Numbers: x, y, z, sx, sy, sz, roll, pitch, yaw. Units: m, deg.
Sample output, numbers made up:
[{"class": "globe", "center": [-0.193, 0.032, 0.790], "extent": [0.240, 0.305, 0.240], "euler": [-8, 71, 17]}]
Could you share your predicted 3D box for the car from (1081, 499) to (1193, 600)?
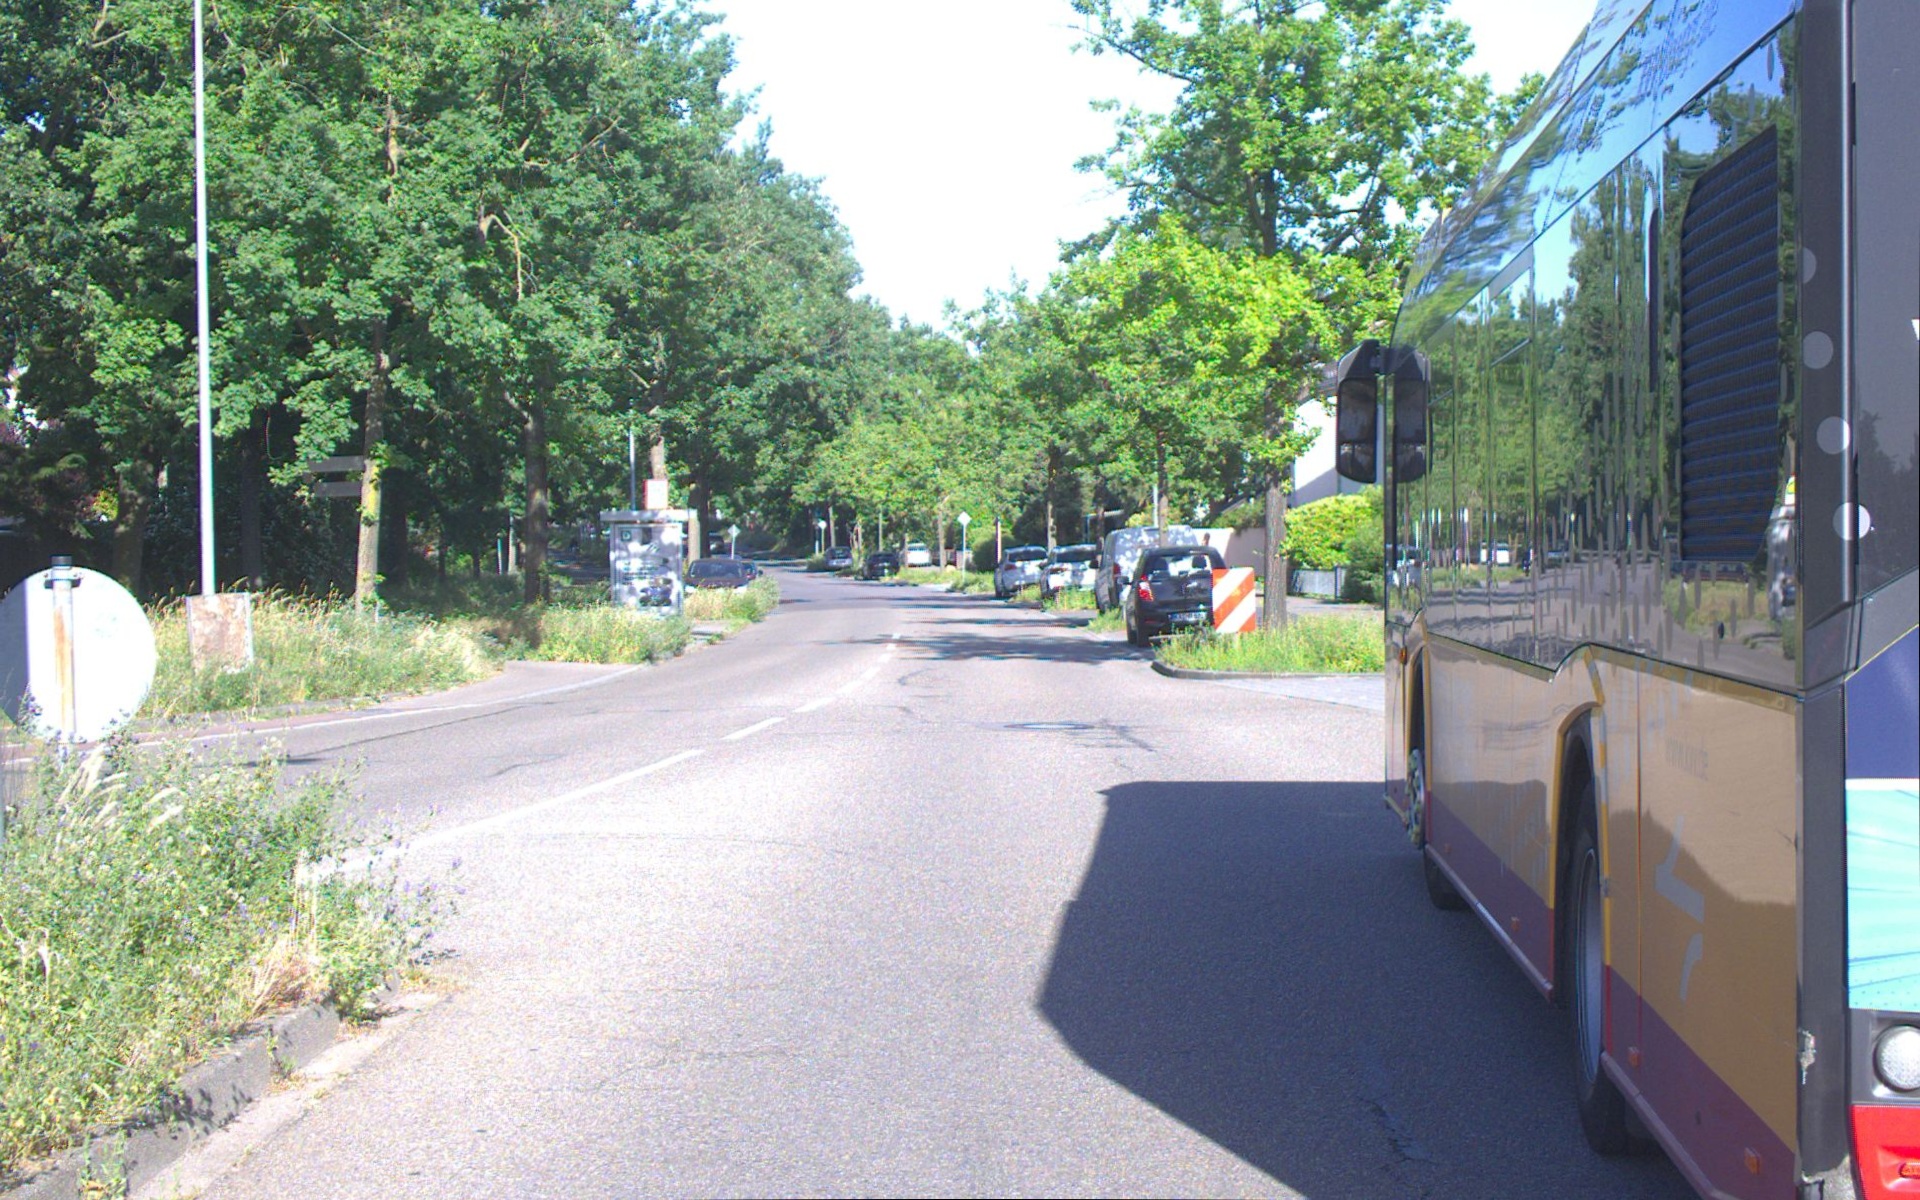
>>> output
[{"class": "car", "center": [3.561, -1.026, 69.887], "extent": [1.835, 1.964, 4.759], "euler": [-1, 1, -2]}]

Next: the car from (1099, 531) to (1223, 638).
[{"class": "car", "center": [3.145, -0.270, 54.336], "extent": [1.672, 1.573, 3.752], "euler": [-2, 1, 0]}]

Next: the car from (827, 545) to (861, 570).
[{"class": "car", "center": [-6.988, -2.559, 206.510], "extent": [1.933, 1.449, 4.001], "euler": [-1, 1, -3]}]

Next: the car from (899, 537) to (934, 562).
[{"class": "car", "center": [-2.641, -3.060, 207.676], "extent": [1.933, 1.449, 4.001], "euler": [-1, 1, -3]}]

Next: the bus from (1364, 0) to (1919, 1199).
[{"class": "bus", "center": [2.952, -0.367, 11.208], "extent": [2.758, 3.446, 12.396], "euler": [-2, 0, 5]}]

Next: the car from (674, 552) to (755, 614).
[{"class": "car", "center": [-6.071, -0.445, 85.141], "extent": [1.935, 1.474, 4.001], "euler": [-1, 1, -4]}]

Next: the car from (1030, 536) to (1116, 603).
[{"class": "car", "center": [2.925, -0.817, 89.888], "extent": [1.935, 1.698, 4.000], "euler": [-1, 1, -2]}]

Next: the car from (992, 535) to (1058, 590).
[{"class": "car", "center": [2.109, -1.227, 112.584], "extent": [1.933, 1.736, 4.000], "euler": [-1, 1, -2]}]

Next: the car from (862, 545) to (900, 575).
[{"class": "car", "center": [-4.188, -2.140, 181.607], "extent": [1.933, 1.537, 4.000], "euler": [-1, 1, -2]}]

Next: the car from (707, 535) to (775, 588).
[{"class": "car", "center": [-6.615, -1.153, 103.402], "extent": [1.993, 1.551, 4.001], "euler": [0, 1, -4]}]
